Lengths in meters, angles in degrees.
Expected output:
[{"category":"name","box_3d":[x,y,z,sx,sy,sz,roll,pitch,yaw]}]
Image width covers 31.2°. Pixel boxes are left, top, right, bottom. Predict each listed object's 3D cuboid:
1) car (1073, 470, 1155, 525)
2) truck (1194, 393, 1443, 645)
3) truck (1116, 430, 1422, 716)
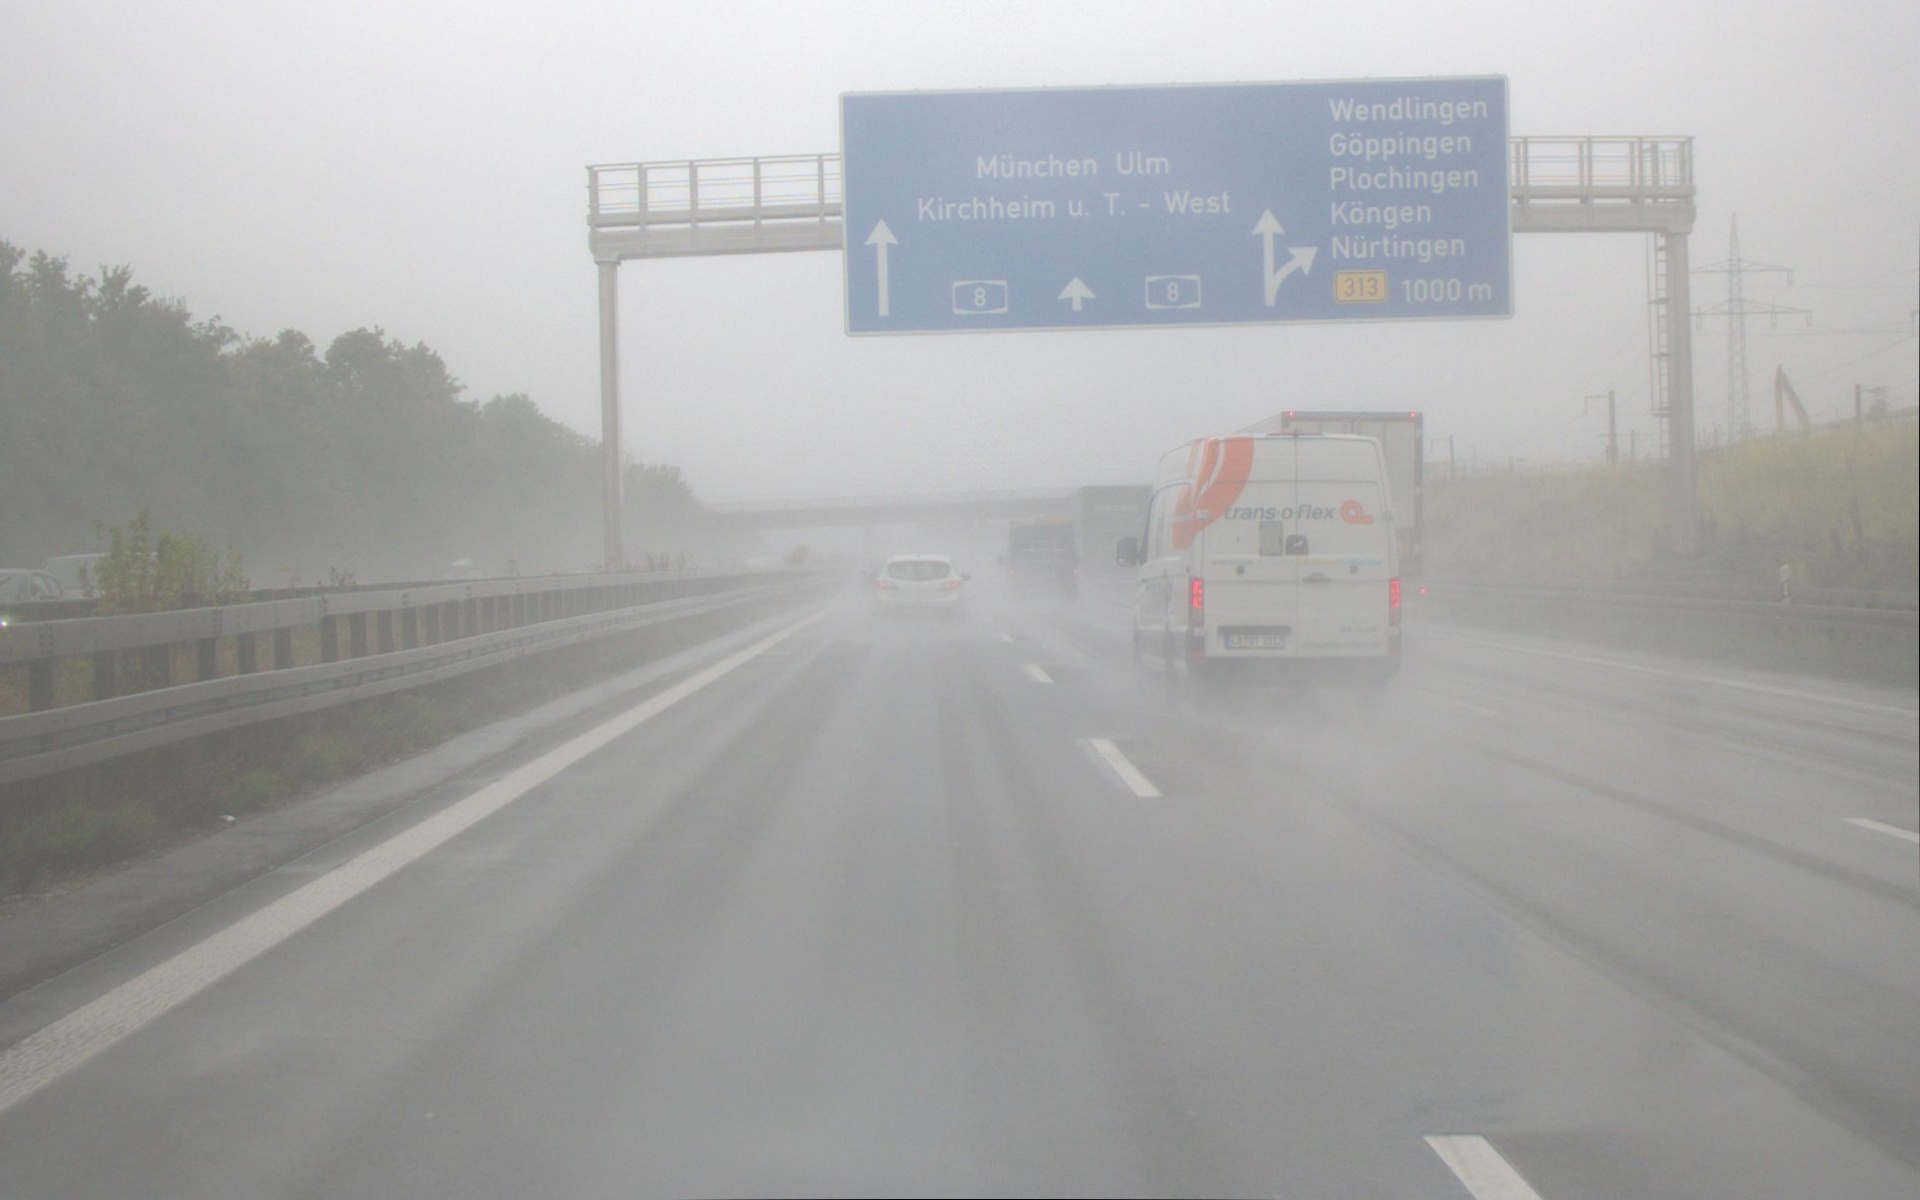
[{"category":"car","box_3d":[5.772,-3.875,129.483,2.788,2.006,4.993,0,2,-1]},{"category":"truck","box_3d":[7.095,-1.602,70.911,3.039,4.572,16.352,0,1,-1]},{"category":"truck","box_3d":[2.832,-0.320,32.902,2.419,2.484,5.560,0,2,0]}]
